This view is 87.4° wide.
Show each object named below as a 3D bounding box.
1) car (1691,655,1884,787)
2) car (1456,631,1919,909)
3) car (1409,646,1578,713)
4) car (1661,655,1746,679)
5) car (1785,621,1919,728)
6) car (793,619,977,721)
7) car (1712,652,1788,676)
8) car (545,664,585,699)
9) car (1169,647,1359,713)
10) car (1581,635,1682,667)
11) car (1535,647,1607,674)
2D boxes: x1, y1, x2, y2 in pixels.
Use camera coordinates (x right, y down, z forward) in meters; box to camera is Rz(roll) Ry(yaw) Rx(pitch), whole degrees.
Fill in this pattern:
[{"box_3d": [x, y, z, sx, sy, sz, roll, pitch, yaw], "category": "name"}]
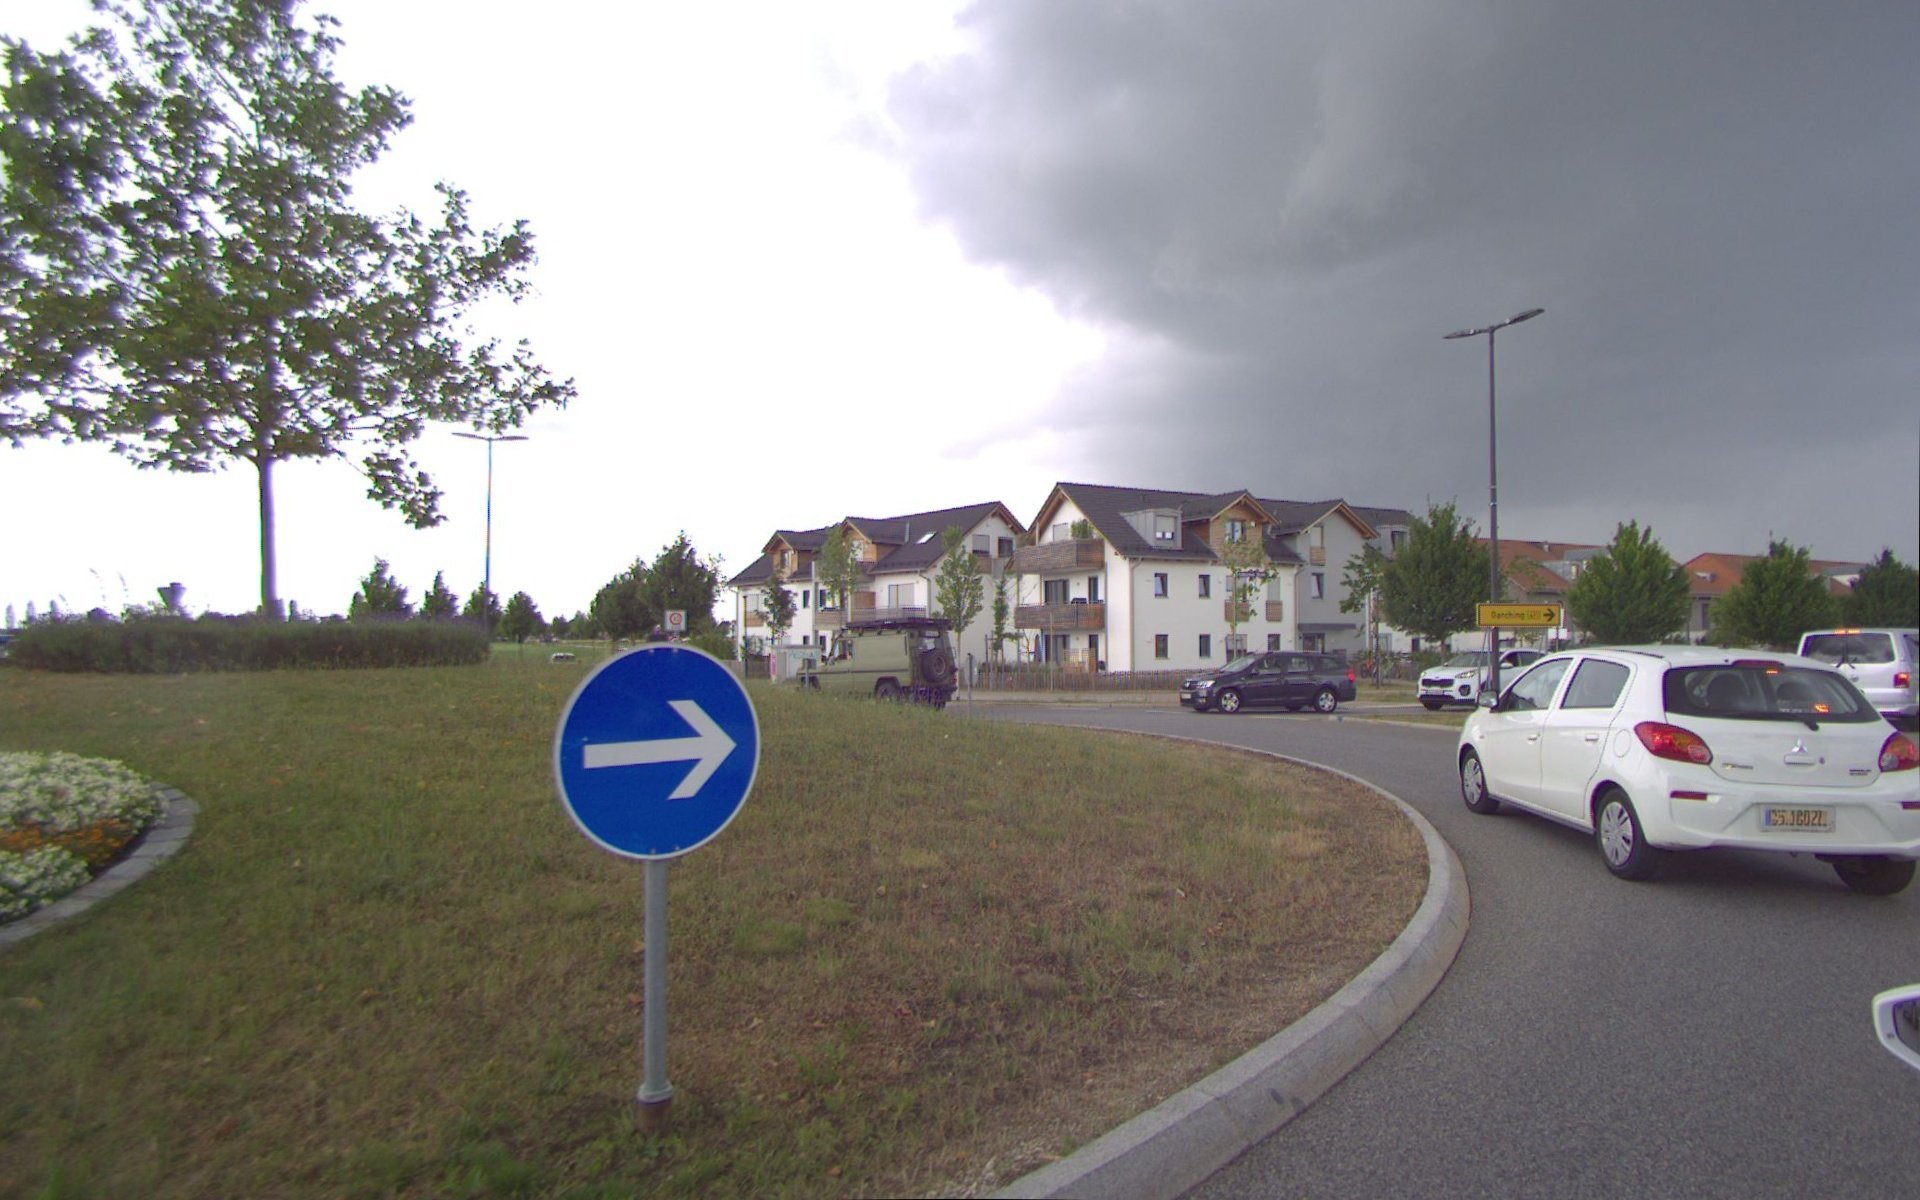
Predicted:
[{"box_3d": [11.135, 1.480, 13.441, 1.764, 1.410, 4.110, 0, -2, 42], "category": "car"}, {"box_3d": [5.101, 1.030, 7.420, 1.600, 1.539, 3.402, 1, -2, 8], "category": "car"}, {"box_3d": [14.266, 2.075, 26.826, 4.389, 1.647, 1.704, 1, -2, -25], "category": "car"}, {"box_3d": [46.169, 4.159, 62.436, 1.821, 1.332, 3.896, 1, -2, -30], "category": "car"}, {"box_3d": [18.634, 1.475, 20.386, 3.960, 1.959, 1.856, 2, -4, -35], "category": "car"}, {"box_3d": [-1.915, 1.626, 24.866, 4.506, 2.283, 1.989, -1, -2, 42], "category": "car"}, {"box_3d": [53.630, 4.300, 68.213, 1.667, 1.501, 3.711, 1, -2, -31], "category": "car"}, {"box_3d": [-20.374, 4.182, 51.957, 1.831, 1.661, 3.982, 2, -3, -21], "category": "car"}, {"box_3d": [7.566, 1.985, 25.164, 4.201, 1.584, 1.772, 1, -3, -9], "category": "car"}, {"box_3d": [38.838, 2.924, 58.226, 1.973, 1.702, 4.518, 1, -2, -25], "category": "car"}, {"box_3d": [41.684, 4.134, 68.530, 4.403, 1.795, 1.989, 1, -3, -24], "category": "car"}]
